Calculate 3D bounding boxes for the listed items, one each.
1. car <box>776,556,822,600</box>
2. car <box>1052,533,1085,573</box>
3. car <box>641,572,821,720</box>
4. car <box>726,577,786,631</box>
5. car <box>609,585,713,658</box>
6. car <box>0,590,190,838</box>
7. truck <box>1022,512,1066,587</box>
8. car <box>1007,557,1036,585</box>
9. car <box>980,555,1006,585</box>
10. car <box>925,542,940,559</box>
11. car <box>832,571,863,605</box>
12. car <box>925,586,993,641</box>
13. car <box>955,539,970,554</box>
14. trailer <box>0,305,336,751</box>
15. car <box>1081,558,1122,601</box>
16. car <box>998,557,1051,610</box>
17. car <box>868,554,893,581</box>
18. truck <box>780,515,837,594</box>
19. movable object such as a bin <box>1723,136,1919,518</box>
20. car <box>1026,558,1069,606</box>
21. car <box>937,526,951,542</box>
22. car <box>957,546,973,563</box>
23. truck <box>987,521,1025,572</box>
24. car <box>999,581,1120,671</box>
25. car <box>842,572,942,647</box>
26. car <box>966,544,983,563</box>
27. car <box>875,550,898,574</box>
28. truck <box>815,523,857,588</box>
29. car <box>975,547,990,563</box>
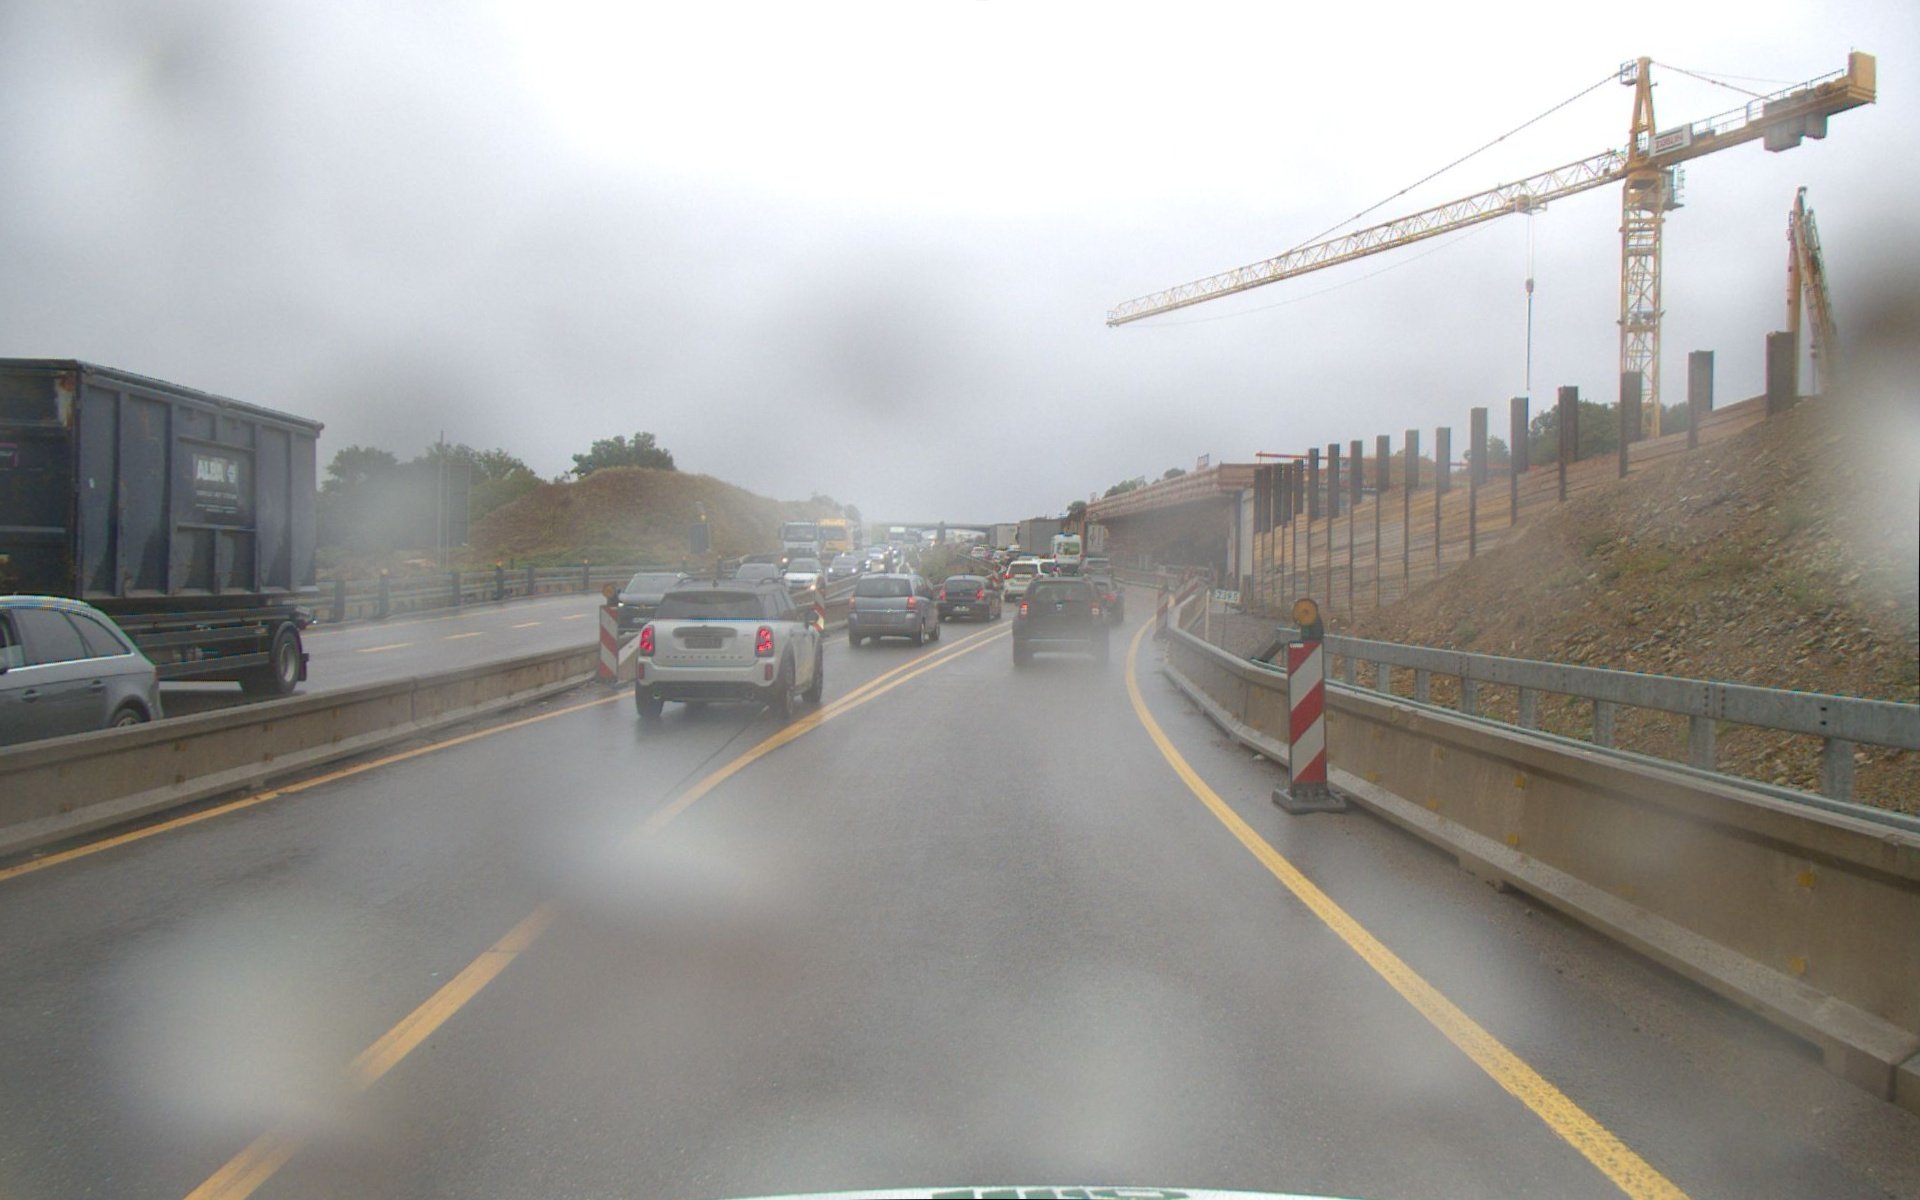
[{"bbox_3d":[-7.536,-1.024,77.754,1.749,1.842,4.497,0,-2,-1],"label":"car"},{"bbox_3d":[7.531,-3.241,115.127,1.953,2.528,4.980,0,-2,-1],"label":"car"},{"bbox_3d":[-2.721,0.566,20.504,1.779,1.628,4.305,0,-1,-2],"label":"car"},{"bbox_3d":[-7.546,0.194,61.599,1.749,1.842,4.497,0,-2,-1],"label":"car"},{"bbox_3d":[-7.487,0.489,41.930,1.702,1.714,5.550,1,0,-1],"label":"car"},{"bbox_3d":[-6.716,0.684,10.262,1.831,1.497,4.668,0,0,-2],"label":"car"},{"bbox_3d":[6.935,-4.013,135.856,3.035,5.522,9.448,0,-2,6],"label":"truck"},{"bbox_3d":[4.413,-2.077,119.470,1.953,1.792,3.814,0,-2,0],"label":"car"},{"bbox_3d":[2.691,-2.412,135.183,1.952,2.201,4.142,0,-2,4],"label":"car"},{"bbox_3d":[-3.712,-6.682,223.395,1.953,2.049,3.998,0,-2,-2],"label":"car"},{"bbox_3d":[-6.565,-0.689,97.010,1.590,1.842,3.636,0,-2,0],"label":"car"},{"bbox_3d":[-0.077,0.456,52.581,1.954,1.629,4.137,0,-2,-3],"label":"car"},{"bbox_3d":[0.341,-7.546,233.639,1.953,2.049,3.999,0,0,-2],"label":"car"},{"bbox_3d":[-10.206,-0.695,19.062,2.691,4.040,9.670,0,0,-2],"label":"trailer"},{"bbox_3d":[7.755,-1.093,90.866,1.952,2.201,4.140,0,-2,1],"label":"car"},{"bbox_3d":[2.667,-0.666,69.610,1.953,2.049,3.891,0,-2,-2],"label":"car"},{"bbox_3d":[-7.527,-3.087,157.340,2.193,2.400,4.876,1,0,0],"label":"car"},{"bbox_3d":[-10.092,-2.939,110.966,3.020,5.006,8.563,1,0,0],"label":"truck"},{"bbox_3d":[29.890,-8.772,56.714,4.617,11.033,10.310,0,-2,13],"label":"movable object such as a bin"},{"bbox_3d":[4.401,-0.865,82.630,1.951,2.201,4.142,0,-2,5],"label":"car"},{"bbox_3d":[-2.348,-9.476,237.622,1.953,2.049,3.998,0,-2,-2],"label":"car"},{"bbox_3d":[0.597,-5.659,206.561,1.953,2.049,3.999,0,0,-2],"label":"car"},{"bbox_3d":[5.404,-6.259,196.657,3.727,5.132,12.914,0,-2,-2],"label":"truck"},{"bbox_3d":[1.841,0.540,31.859,2.039,1.629,4.139,0,-2,-1],"label":"car"},{"bbox_3d":[-1.547,0.267,39.136,1.952,1.629,4.141,0,-2,3],"label":"car"},{"bbox_3d":[1.628,-5.228,187.271,1.812,1.927,4.020,0,-2,0],"label":"car"},{"bbox_3d":[-7.696,-3.967,172.999,2.171,2.412,4.663,1,0,0],"label":"car"},{"bbox_3d":[-10.977,-3.859,147.316,3.077,5.513,8.522,1,0,0],"label":"truck"},{"bbox_3d":[3.208,-6.538,239.255,1.953,2.049,3.998,0,-2,-2],"label":"car"}]
